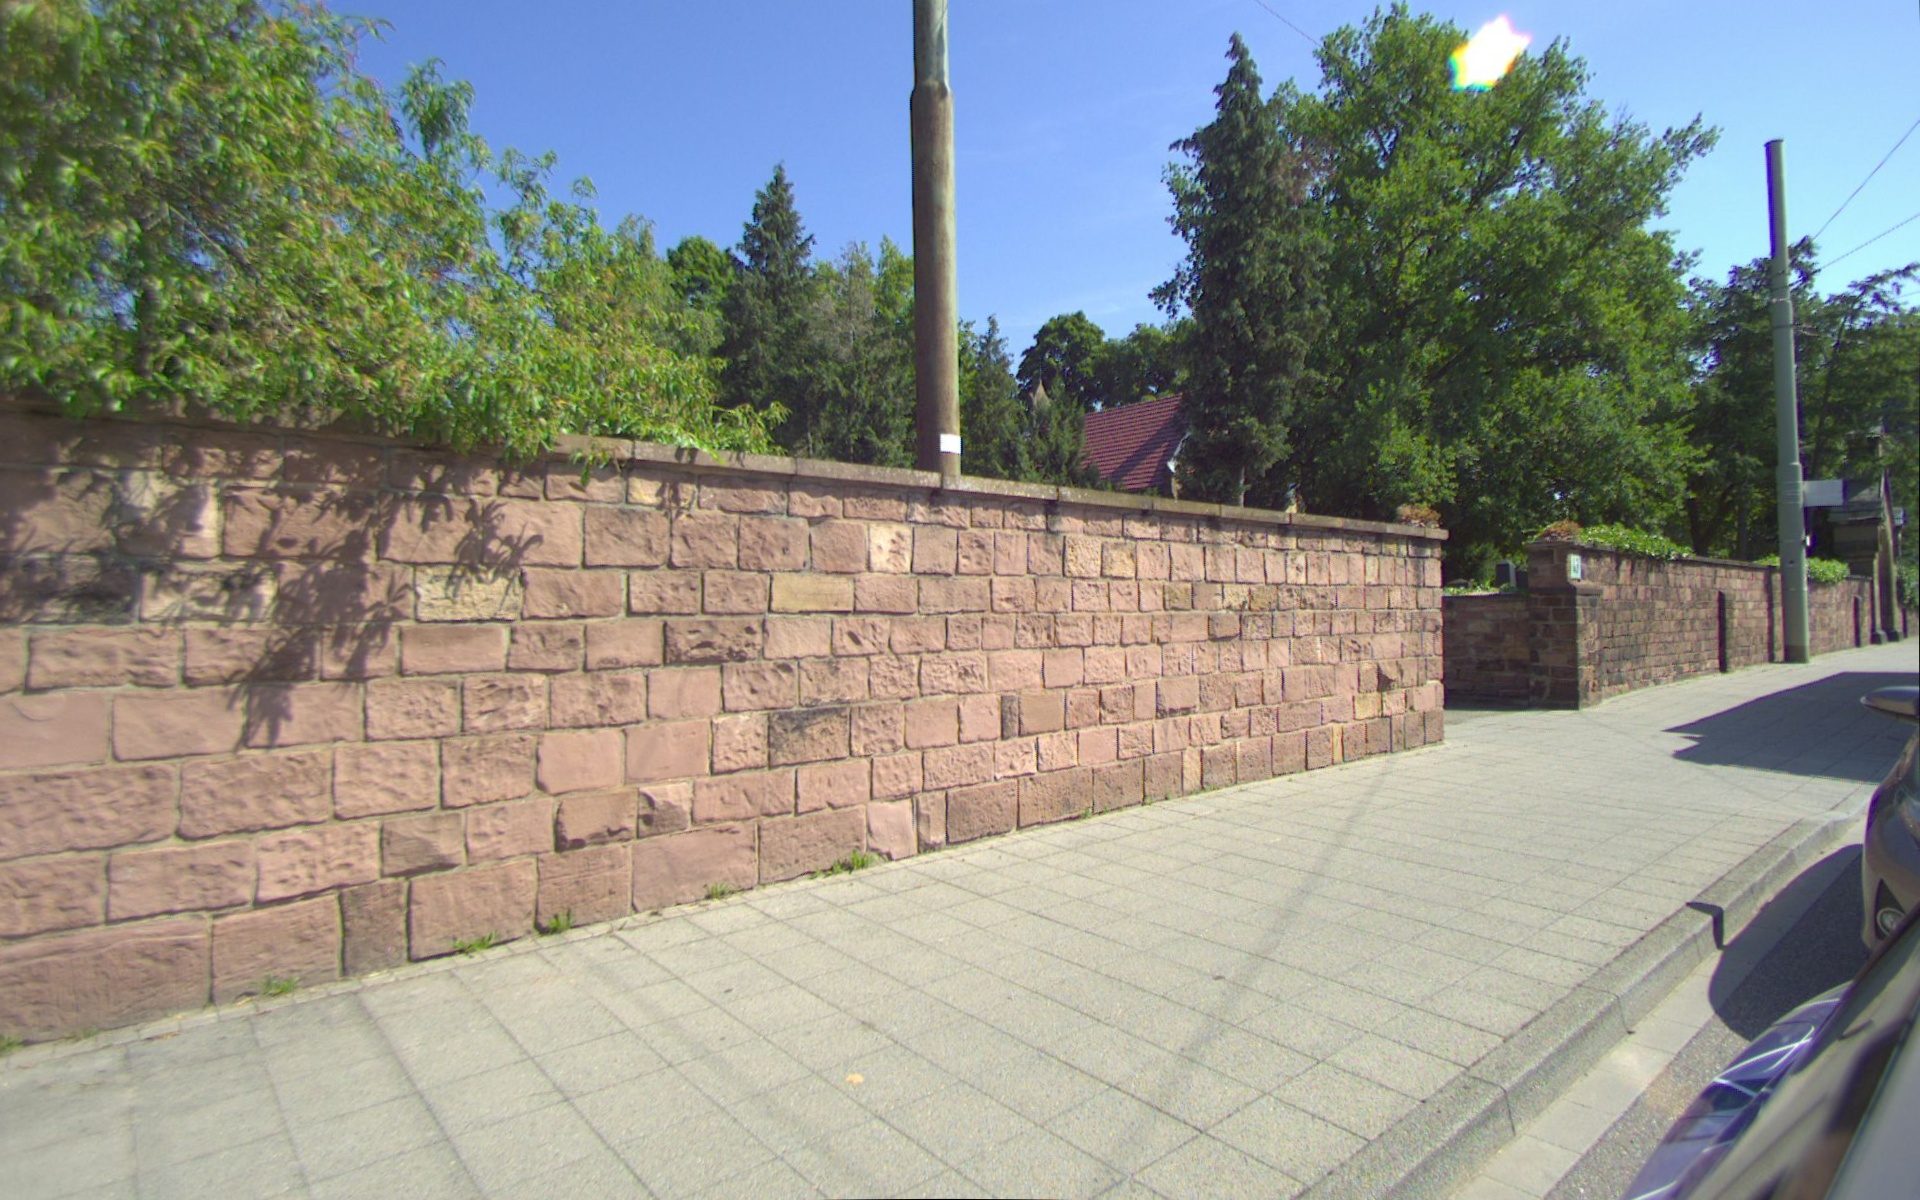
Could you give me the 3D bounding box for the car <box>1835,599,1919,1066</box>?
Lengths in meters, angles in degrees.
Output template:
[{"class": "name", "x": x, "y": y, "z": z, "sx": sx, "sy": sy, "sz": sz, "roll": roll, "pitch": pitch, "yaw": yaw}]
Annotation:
[{"class": "car", "x": 5.083, "y": 0.703, "z": 4.062, "sx": 4.384, "sy": 1.451, "sz": 1.741, "roll": 0, "pitch": -1, "yaw": -41}]
